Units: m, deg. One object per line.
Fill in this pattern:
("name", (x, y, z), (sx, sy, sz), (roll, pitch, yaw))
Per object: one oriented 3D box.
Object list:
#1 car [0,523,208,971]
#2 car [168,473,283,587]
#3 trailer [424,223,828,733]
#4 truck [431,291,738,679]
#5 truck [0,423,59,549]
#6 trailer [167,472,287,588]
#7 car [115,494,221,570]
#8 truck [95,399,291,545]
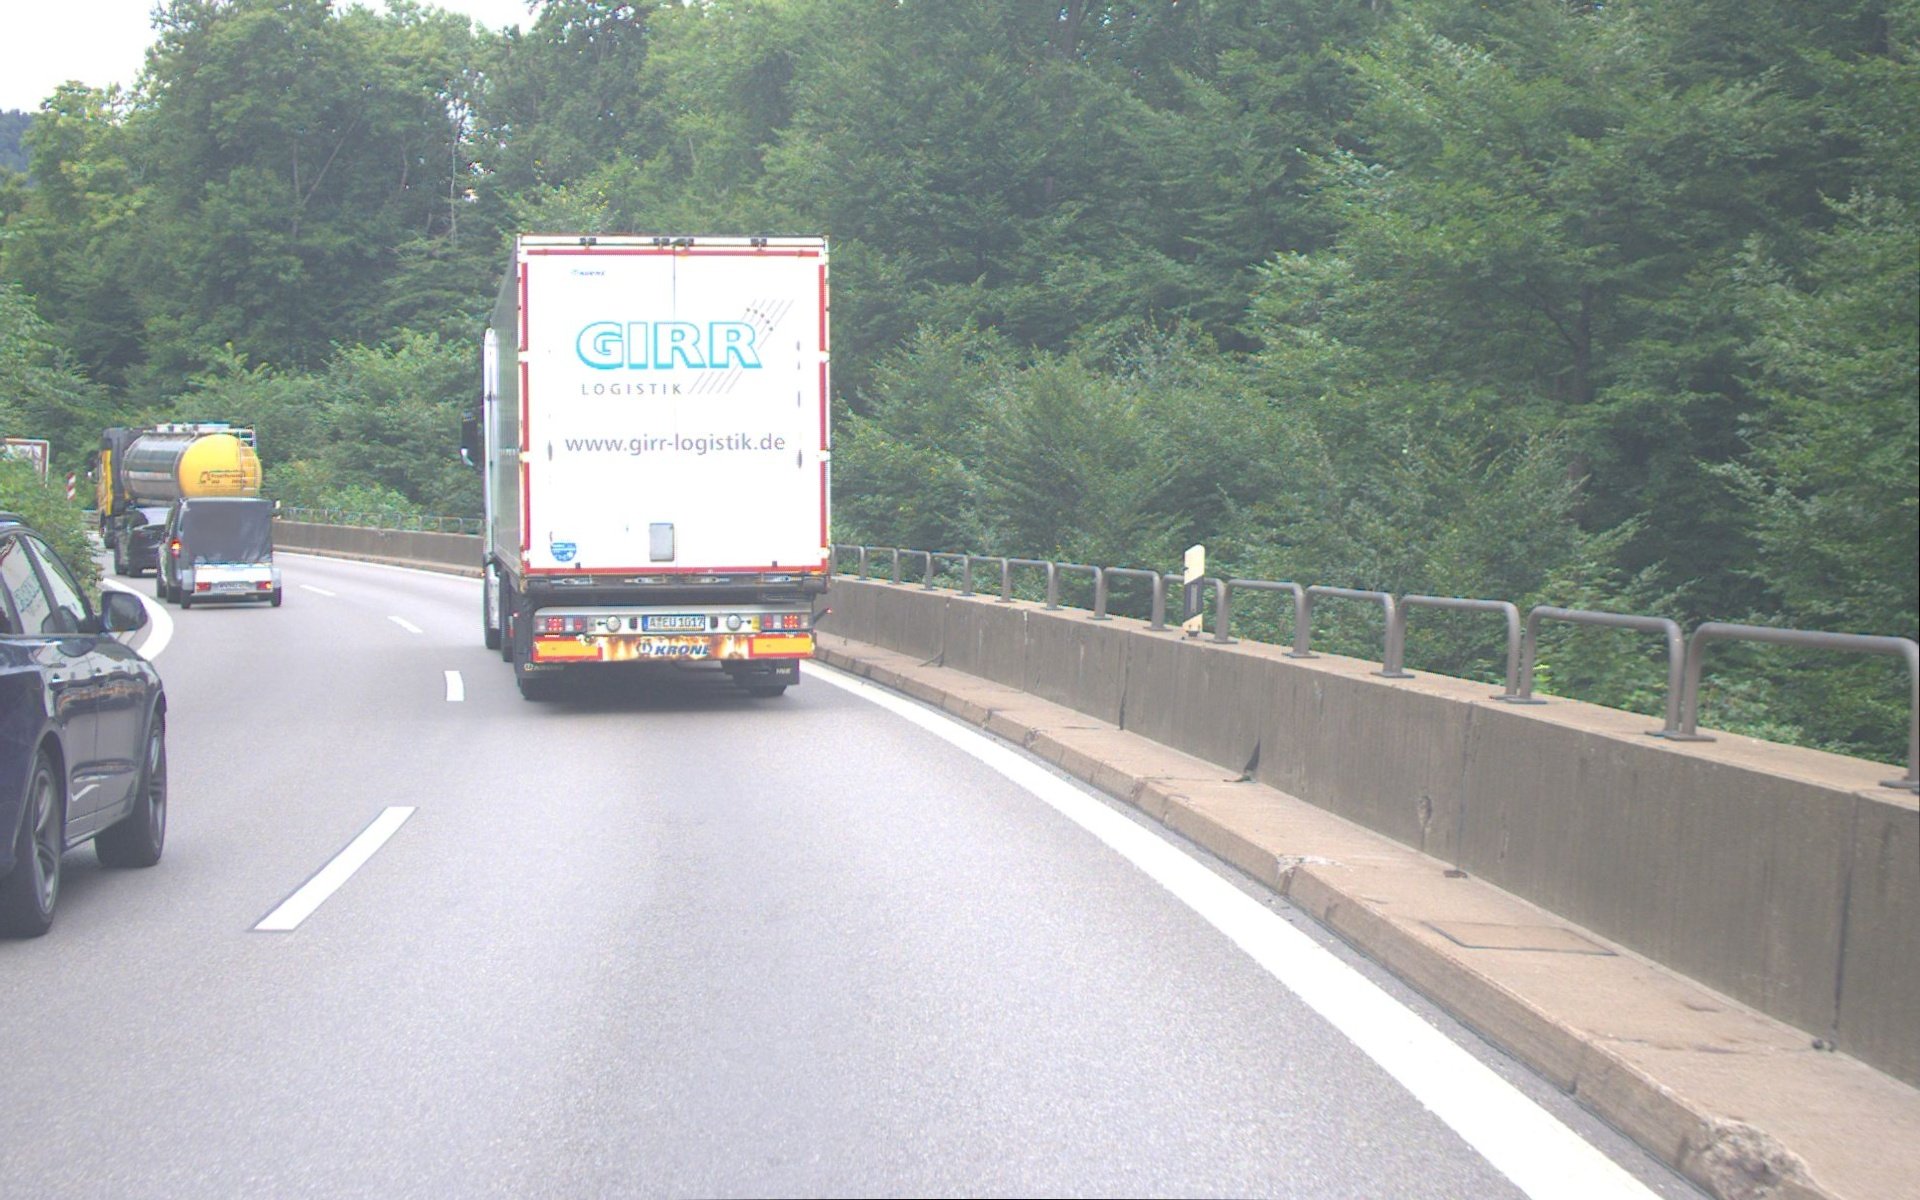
("car", (-4.445, 0.459, 13.645), (1.971, 1.587, 5.586), (4, 0, -4))
("car", (-13.906, -1.286, 64.995), (1.993, 2.007, 5.542), (1, 0, -12))
("trailer", (-3.556, -1.276, 33.887), (3.057, 3.972, 12.141), (3, 2, -8))
("truck", (-4.504, -1.390, 40.210), (3.057, 3.972, 7.190), (3, 2, -8))
("truck", (-42.396, -4.928, 150.914), (3.827, 5.306, 11.062), (0, 1, -24))
("trailer", (-12.935, -1.212, 60.616), (1.970, 1.933, 3.431), (1, 0, -12))
("car", (-18.436, -1.565, 79.914), (1.993, 1.711, 4.001), (0, 1, -19))
("truck", (-22.750, -3.641, 101.253), (3.057, 3.973, 13.701), (0, 1, -24))
